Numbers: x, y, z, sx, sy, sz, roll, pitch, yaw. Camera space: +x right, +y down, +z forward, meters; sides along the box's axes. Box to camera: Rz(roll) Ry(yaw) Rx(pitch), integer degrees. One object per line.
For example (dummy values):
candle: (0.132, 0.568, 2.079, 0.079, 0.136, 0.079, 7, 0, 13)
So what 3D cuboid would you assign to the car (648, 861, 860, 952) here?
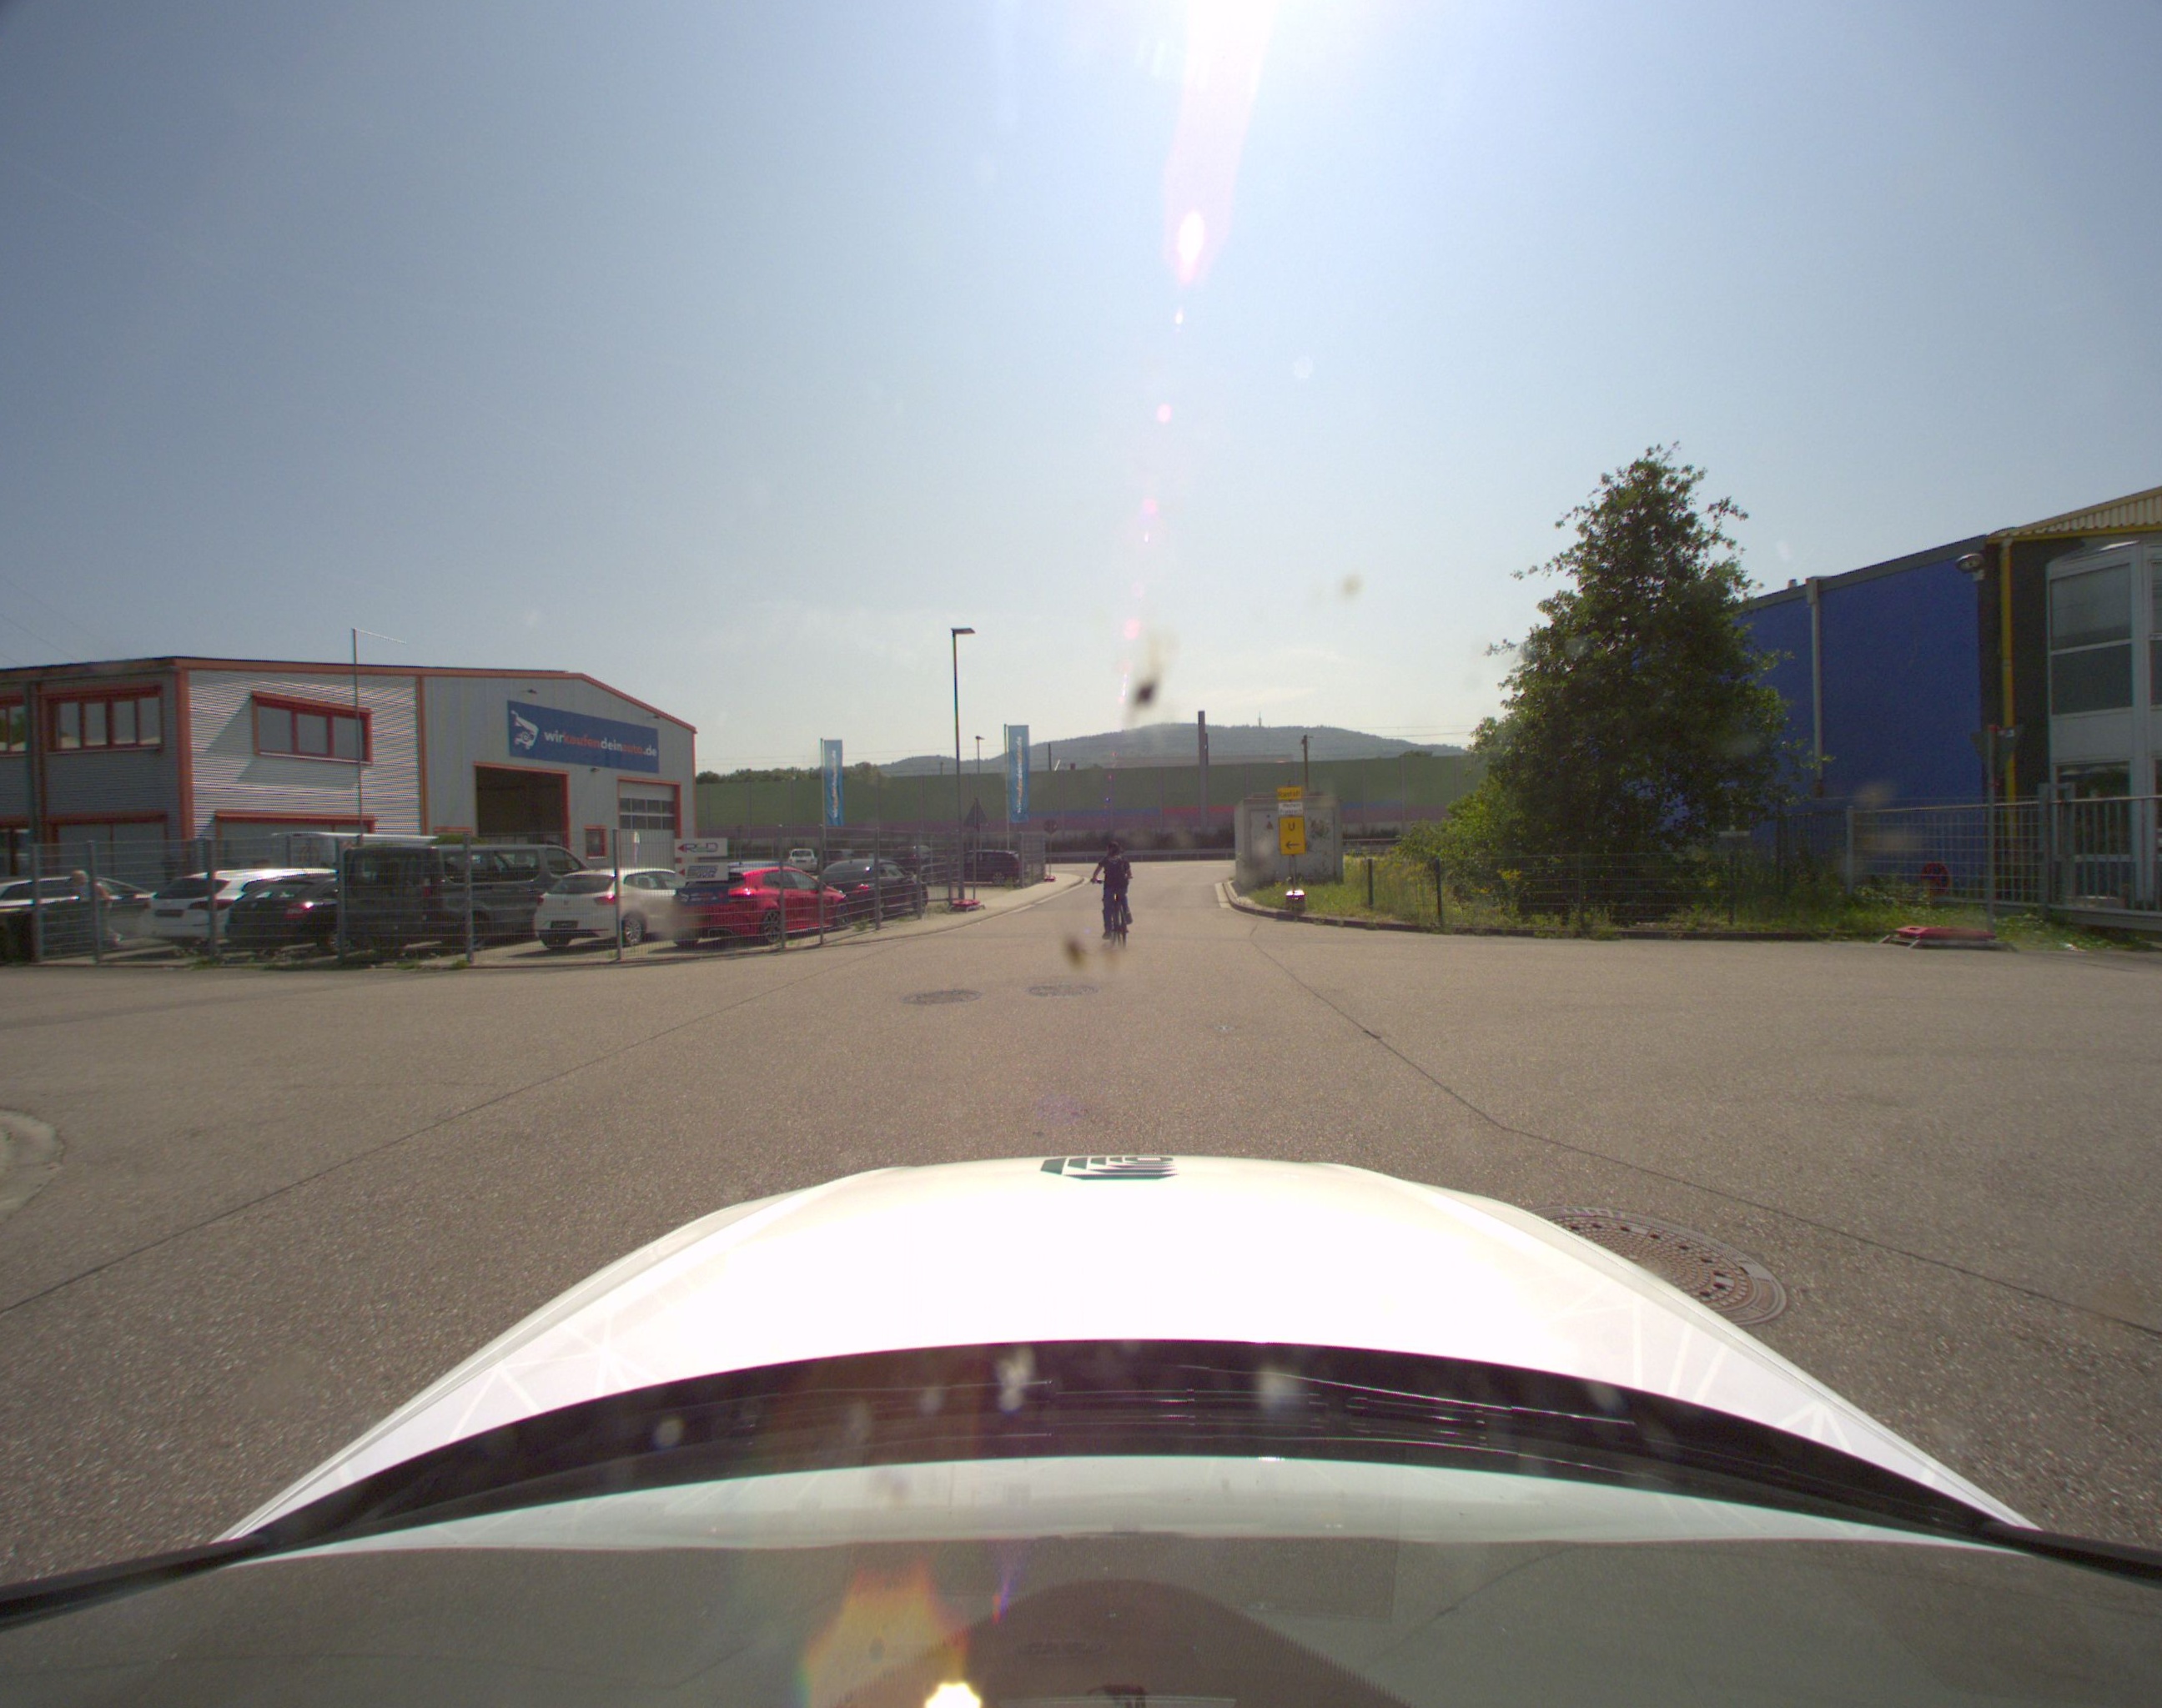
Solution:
car: (-6.082, 0.911, 15.769, 1.858, 1.386, 4.125, -2, 1, 10)

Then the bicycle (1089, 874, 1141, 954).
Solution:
bicycle: (0.494, 0.877, 12.529, 0.683, 1.051, 1.900, -2, 0, -1)

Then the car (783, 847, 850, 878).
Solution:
car: (-14.862, 0.434, 46.047, 1.982, 1.581, 4.010, -2, 1, 8)

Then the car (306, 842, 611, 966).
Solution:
car: (-11.759, 0.819, 15.889, 1.938, 2.030, 4.530, -2, 1, 10)

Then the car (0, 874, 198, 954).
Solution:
car: (-21.015, 1.208, 16.735, 1.494, 1.381, 3.614, -2, 1, 10)

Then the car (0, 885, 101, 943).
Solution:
car: (-24.072, 1.370, 17.459, 1.494, 1.151, 3.614, -2, 1, 10)

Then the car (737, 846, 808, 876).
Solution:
car: (-17.528, 0.366, 46.490, 1.982, 1.581, 4.010, -2, 1, 8)

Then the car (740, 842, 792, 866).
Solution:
car: (-23.416, -0.037, 60.732, 1.687, 1.656, 4.013, -1, 1, 11)

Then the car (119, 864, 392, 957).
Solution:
car: (-16.432, 1.045, 16.483, 1.494, 1.539, 3.614, -2, 1, 10)

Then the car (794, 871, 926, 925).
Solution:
car: (-5.255, 1.008, 19.956, 1.474, 1.006, 4.125, -2, 1, 10)

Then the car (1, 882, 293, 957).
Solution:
car: (-18.792, 1.257, 16.645, 1.494, 1.151, 3.614, -2, 1, 10)

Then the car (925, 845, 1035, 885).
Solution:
car: (-4.088, 0.429, 33.241, 3.959, 1.492, 2.008, -2, 1, 13)

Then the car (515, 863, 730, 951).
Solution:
car: (-8.804, 0.956, 16.023, 1.735, 1.404, 3.614, -2, 1, 10)

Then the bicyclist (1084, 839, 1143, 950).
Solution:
bicyclist: (0.480, 0.601, 12.476, 0.840, 1.618, 1.039, -1, 0, -1)

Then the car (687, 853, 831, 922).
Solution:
car: (-7.905, 0.764, 20.388, 1.474, 1.454, 3.905, -2, 1, 10)

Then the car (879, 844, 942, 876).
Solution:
car: (-9.107, 0.294, 43.911, 1.982, 1.581, 4.010, -2, 1, 8)
